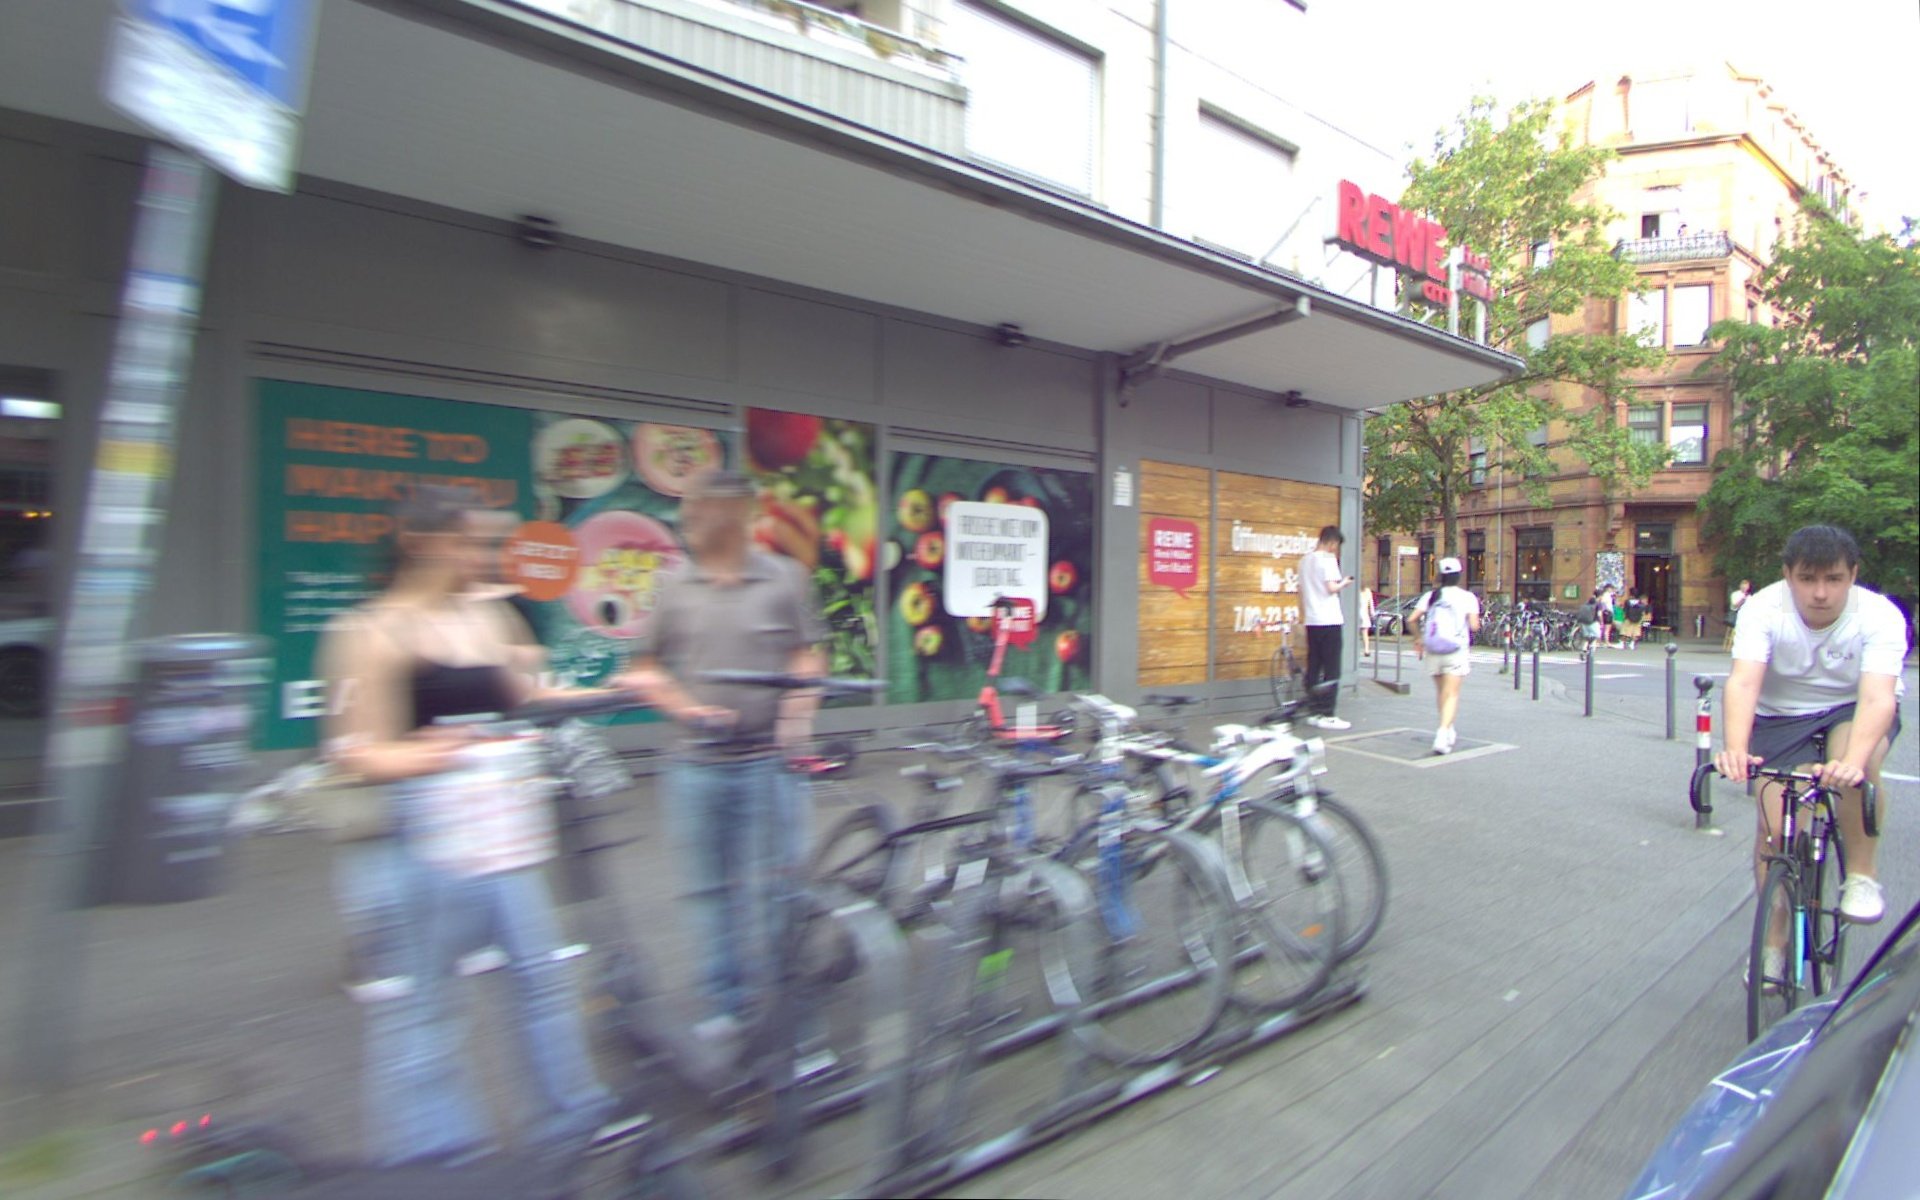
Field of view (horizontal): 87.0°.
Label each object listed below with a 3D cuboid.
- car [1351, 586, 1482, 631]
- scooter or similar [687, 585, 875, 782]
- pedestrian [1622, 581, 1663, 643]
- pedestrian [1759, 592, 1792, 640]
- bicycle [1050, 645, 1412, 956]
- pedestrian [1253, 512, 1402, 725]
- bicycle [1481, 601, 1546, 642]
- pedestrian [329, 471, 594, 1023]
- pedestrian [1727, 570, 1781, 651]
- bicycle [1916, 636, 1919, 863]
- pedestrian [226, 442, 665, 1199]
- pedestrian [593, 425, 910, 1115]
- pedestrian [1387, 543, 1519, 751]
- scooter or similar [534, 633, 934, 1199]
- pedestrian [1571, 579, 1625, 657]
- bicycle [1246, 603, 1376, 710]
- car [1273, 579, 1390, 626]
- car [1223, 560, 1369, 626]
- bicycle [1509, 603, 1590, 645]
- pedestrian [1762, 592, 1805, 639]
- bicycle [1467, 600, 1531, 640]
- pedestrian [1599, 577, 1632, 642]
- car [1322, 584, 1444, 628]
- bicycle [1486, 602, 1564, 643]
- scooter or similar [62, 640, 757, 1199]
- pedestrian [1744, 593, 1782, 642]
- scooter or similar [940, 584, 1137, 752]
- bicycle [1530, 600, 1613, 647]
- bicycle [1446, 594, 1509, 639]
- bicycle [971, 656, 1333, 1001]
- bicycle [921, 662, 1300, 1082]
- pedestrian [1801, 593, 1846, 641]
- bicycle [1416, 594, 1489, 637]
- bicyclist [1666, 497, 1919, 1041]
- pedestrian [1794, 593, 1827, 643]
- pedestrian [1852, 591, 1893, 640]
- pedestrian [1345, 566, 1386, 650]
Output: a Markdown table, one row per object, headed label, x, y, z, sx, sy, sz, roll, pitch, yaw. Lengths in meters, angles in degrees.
| label | x | y | z | sx | sy | sz | roll | pitch | yaw |
| --- | --- | --- | --- | --- | --- | --- | --- | --- | --- |
| car | 15.627 | 0.263 | 34.681 | 3.893 | 1.438 | 1.631 | -1 | 1 | -13 |
| scooter or similar | -1.162 | 0.520 | 6.609 | 1.139 | 1.219 | 0.538 | 1 | 0 | -11 |
| pedestrian | 18.364 | 0.313 | 27.230 | 0.628 | 1.658 | 0.675 | -1 | 1 | -1 |
| pedestrian | 22.263 | 0.433 | 27.633 | 0.671 | 1.288 | 0.632 | 0 | 1 | 37 |
| bicycle | 1.135 | 0.788 | 4.545 | 0.502 | 1.013 | 1.551 | -1 | 3 | -40 |
| pedestrian | 3.571 | 0.147 | 9.831 | 1.168 | 1.935 | 0.763 | 0 | 3 | -37 |
| bicycle | 15.757 | 0.587 | 28.810 | 1.846 | 1.091 | 0.714 | -1 | 1 | -27 |
| pedestrian | -1.704 | 0.435 | 3.446 | 0.712 | 1.651 | 0.563 | 1 | 2 | -32 |
| pedestrian | 19.076 | 0.243 | 24.308 | 0.891 | 1.892 | 0.676 | -1 | 1 | -23 |
| bicycle | 6.040 | 0.772 | 5.520 | 2.299 | 1.154 | 0.794 | 1 | -1 | -36 |
| pedestrian | -1.107 | 0.495 | 2.260 | 0.637 | 1.619 | 0.590 | 2 | 2 | 12 |
| pedestrian | -0.650 | 0.429 | 3.073 | 0.723 | 1.777 | 0.664 | 0 | 2 | -33 |
| pedestrian | 4.212 | 0.361 | 8.717 | 0.652 | 1.671 | 0.882 | 3 | 3 | 5 |
| scooter or similar | -0.684 | 0.726 | 2.856 | 0.528 | 1.186 | 1.161 | 2 | 1 | -44 |
| pedestrian | 13.604 | 0.375 | 21.580 | 0.850 | 1.627 | 0.540 | 2 | 0 | -26 |
| bicycle | 3.779 | 0.564 | 10.825 | 1.751 | 1.037 | 0.457 | -1 | 1 | -39 |
| car | 14.319 | 0.068 | 39.085 | 3.893 | 1.683 | 1.767 | -2 | 1 | -13 |
| car | 13.782 | -0.320 | 41.611 | 5.374 | 2.487 | 2.125 | -2 | 1 | -15 |
| bicycle | 15.826 | 0.634 | 27.171 | 1.845 | 1.065 | 0.714 | -1 | 1 | -11 |
| pedestrian | 22.912 | 0.424 | 28.148 | 0.627 | 1.288 | 0.676 | -1 | 1 | -11 |
| bicycle | 15.662 | 0.567 | 29.393 | 1.846 | 1.091 | 0.714 | -1 | 1 | -27 |
| pedestrian | 18.100 | 0.259 | 27.945 | 0.673 | 1.767 | 0.630 | 0 | 1 | 44 |
| car | 15.501 | 0.203 | 37.164 | 3.893 | 1.521 | 1.631 | -1 | 1 | -13 |
| bicycle | 15.563 | 0.609 | 27.881 | 1.845 | 1.071 | 0.714 | -1 | 1 | -11 |
| scooter or similar | -1.081 | 0.721 | 2.134 | 1.142 | 1.186 | 0.537 | 3 | 0 | 2 |
| pedestrian | 21.703 | 0.455 | 27.360 | 0.668 | 1.288 | 0.635 | 0 | 1 | 25 |
| scooter or similar | 0.647 | 0.499 | 8.160 | 1.591 | 1.233 | 0.480 | -1 | 2 | -30 |
| bicycle | 15.988 | 0.594 | 26.476 | 1.845 | 1.169 | 0.714 | -1 | 1 | -11 |
| bicycle | 15.252 | 0.481 | 29.830 | 1.846 | 1.255 | 0.714 | -1 | 1 | -27 |
| bicycle | 0.701 | 0.801 | 4.070 | 0.502 | 0.995 | 1.421 | -1 | 3 | -40 |
| bicycle | 0.437 | 0.816 | 3.614 | 0.500 | 1.014 | 1.486 | -1 | 3 | -31 |
| pedestrian | 23.560 | 0.461 | 27.621 | 0.662 | 1.288 | 0.640 | -1 | 1 | 1 |
| bicycle | 14.899 | 0.448 | 30.634 | 1.847 | 1.255 | 0.713 | -1 | 1 | -5 |
| bicyclist | 2.905 | 0.463 | 3.350 | 0.935 | 1.527 | 0.651 | -1 | 1 | -35 |
| pedestrian | 22.512 | 0.458 | 26.796 | 0.637 | 1.288 | 0.666 | 0 | 1 | 38 |
| pedestrian | 25.312 | 0.423 | 28.080 | 0.716 | 1.321 | 0.742 | 1 | 1 | 33 |
| pedestrian | 8.830 | 0.169 | 22.022 | 0.688 | 1.767 | 0.705 | 2 | 0 | 30 |
